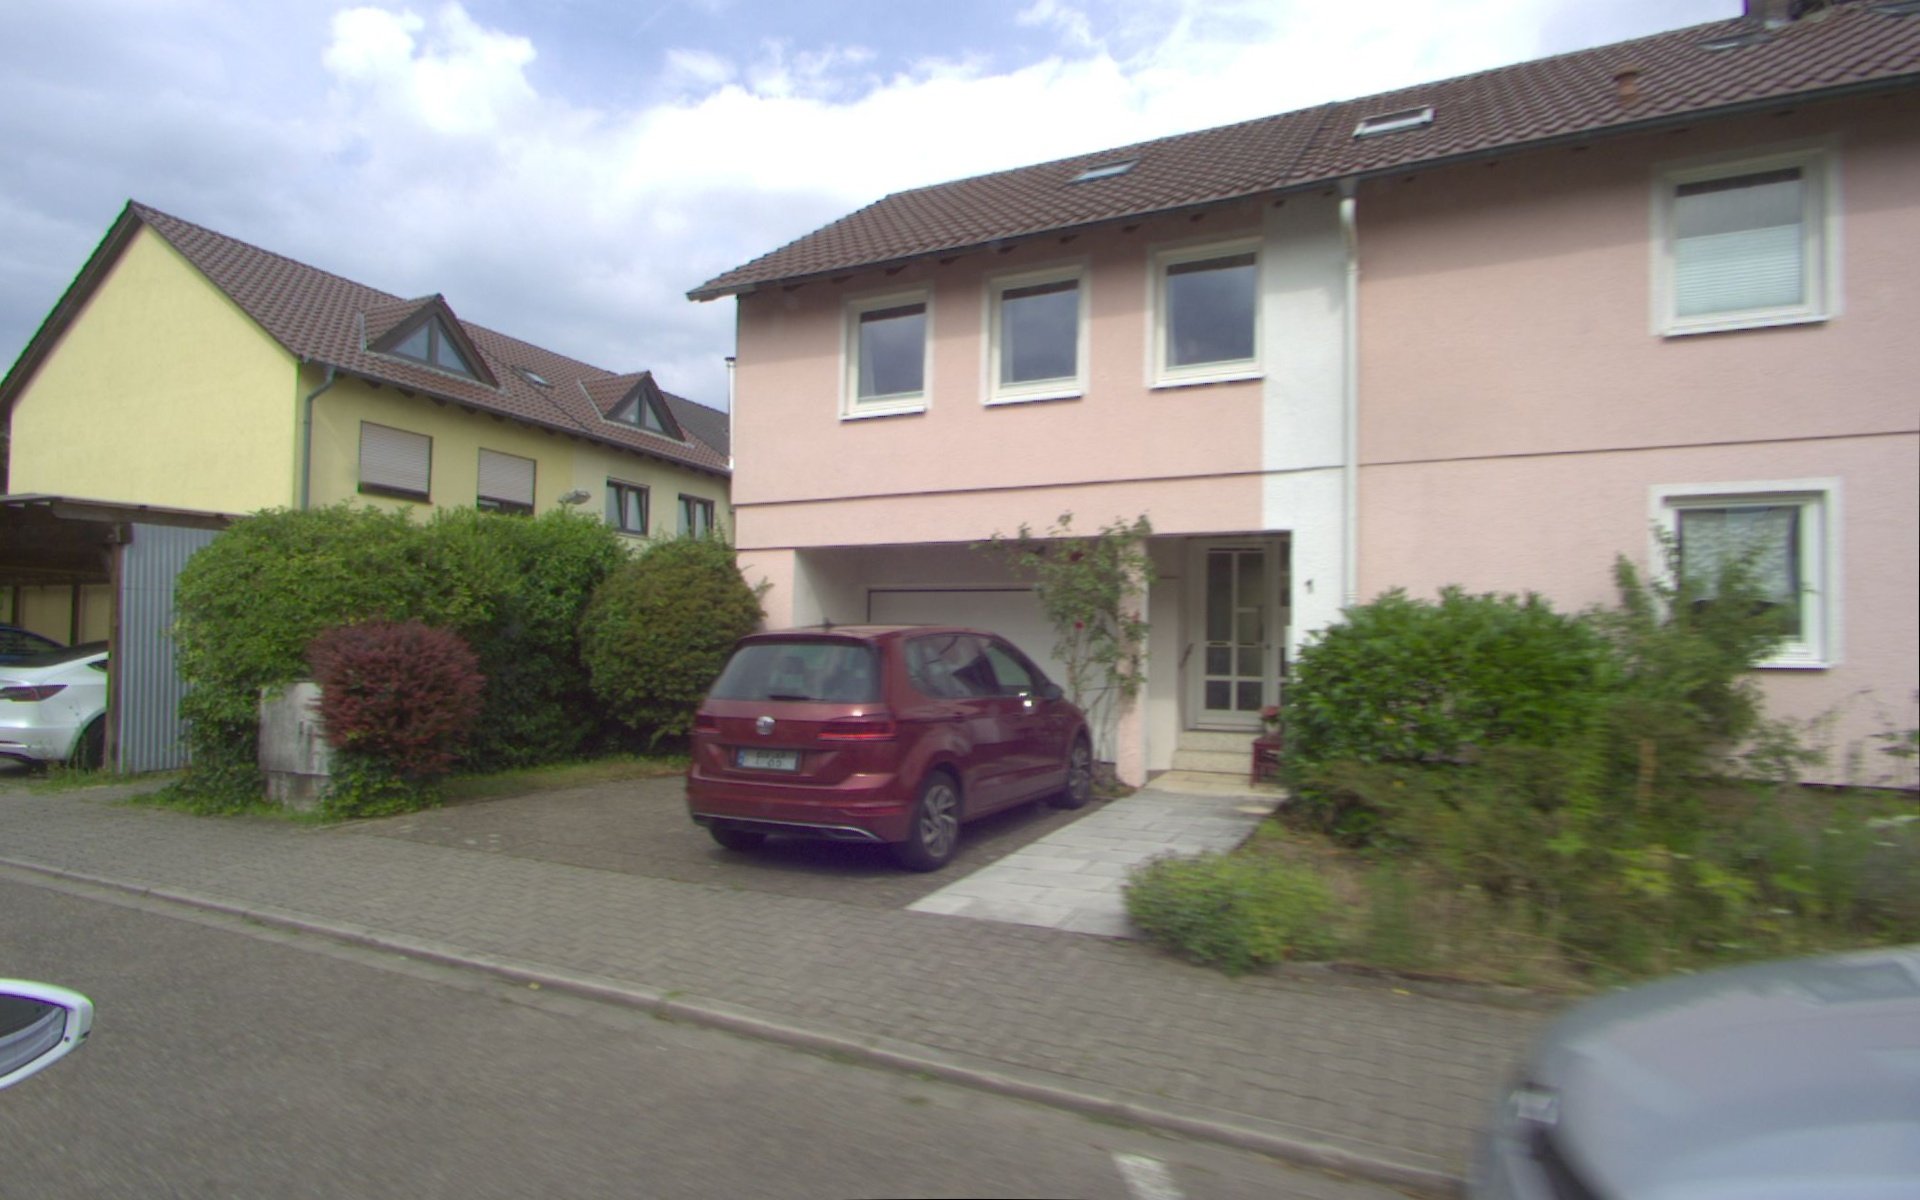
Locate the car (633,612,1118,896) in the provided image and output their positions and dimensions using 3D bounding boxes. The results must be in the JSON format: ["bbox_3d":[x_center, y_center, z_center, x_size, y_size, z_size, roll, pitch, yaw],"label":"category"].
[{"bbox_3d":[-0.306,0.953,7.946,1.904,1.580,4.271,0,-2,26],"label":"car"}]

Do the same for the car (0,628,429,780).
[{"bbox_3d":[-9.113,1.112,12.124,1.993,1.451,4.454,0,-2,24],"label":"car"}]

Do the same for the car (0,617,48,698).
[{"bbox_3d":[-19.706,1.041,18.381,1.808,1.559,3.961,0,-2,23],"label":"car"}]

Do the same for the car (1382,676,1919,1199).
[{"bbox_3d":[2.785,0.888,1.211,4.182,1.434,1.867,0,-3,24],"label":"car"}]

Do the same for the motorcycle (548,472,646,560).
[{"bbox_3d":[-5.428,-1.237,14.960,1.453,1.246,0.354,1,-2,20],"label":"motorcycle"}]

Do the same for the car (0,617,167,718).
[{"bbox_3d":[-15.499,1.039,15.957,1.917,1.541,4.051,0,-2,23],"label":"car"}]
